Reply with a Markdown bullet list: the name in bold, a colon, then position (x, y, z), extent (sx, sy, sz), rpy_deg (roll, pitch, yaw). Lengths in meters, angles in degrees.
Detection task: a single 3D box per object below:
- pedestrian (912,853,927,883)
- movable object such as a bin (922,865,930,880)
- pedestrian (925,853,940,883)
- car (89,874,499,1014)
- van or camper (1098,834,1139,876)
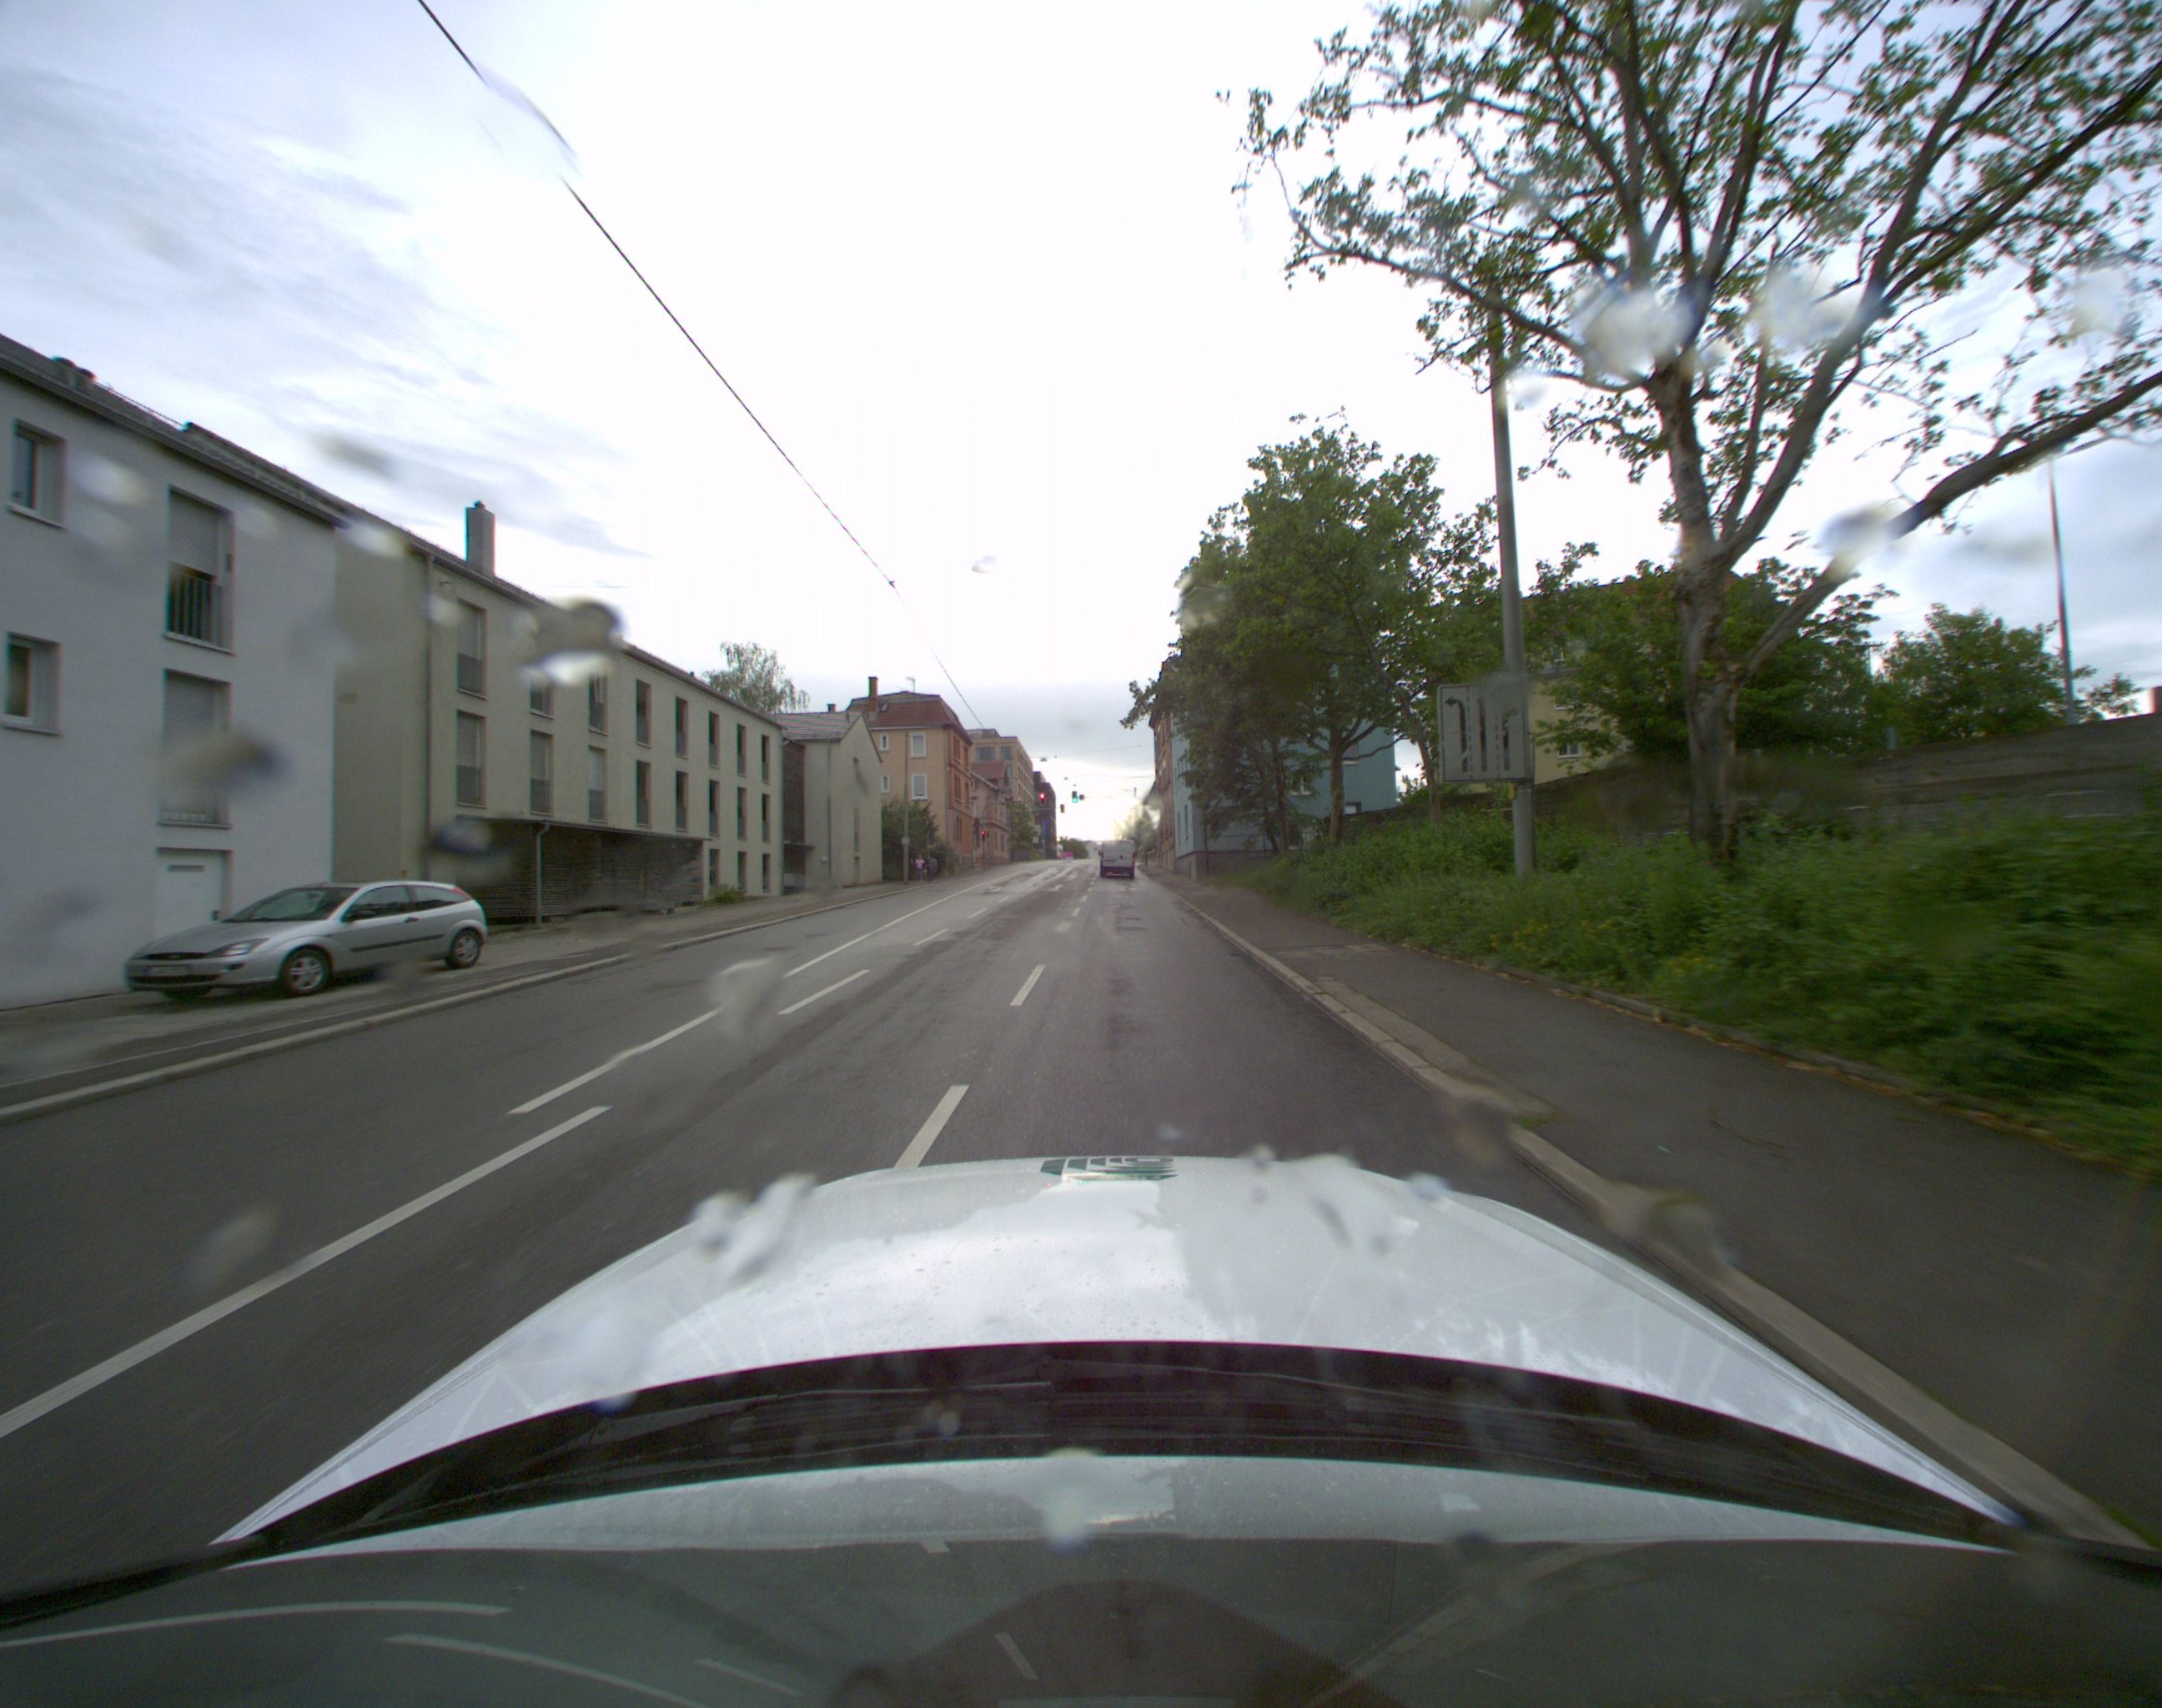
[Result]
- **pedestrian**: position (-9.442, 0.820, 47.646), extent (0.637, 1.706, 0.912), rpy_deg (-1, 0, 2)
- **movable object such as a bin**: position (-10.170, 1.208, 53.481), extent (0.408, 0.925, 0.525), rpy_deg (0, -1, -5)
- **pedestrian**: position (-8.669, 0.814, 47.487), extent (0.637, 1.706, 0.912), rpy_deg (-1, 0, 2)
- **car**: position (-10.844, 1.124, 11.755), extent (1.738, 1.508, 4.179), rpy_deg (-2, 0, 2)
- **van or camper**: position (2.290, 0.073, 49.342), extent (2.330, 2.357, 5.202), rpy_deg (0, 0, 2)
